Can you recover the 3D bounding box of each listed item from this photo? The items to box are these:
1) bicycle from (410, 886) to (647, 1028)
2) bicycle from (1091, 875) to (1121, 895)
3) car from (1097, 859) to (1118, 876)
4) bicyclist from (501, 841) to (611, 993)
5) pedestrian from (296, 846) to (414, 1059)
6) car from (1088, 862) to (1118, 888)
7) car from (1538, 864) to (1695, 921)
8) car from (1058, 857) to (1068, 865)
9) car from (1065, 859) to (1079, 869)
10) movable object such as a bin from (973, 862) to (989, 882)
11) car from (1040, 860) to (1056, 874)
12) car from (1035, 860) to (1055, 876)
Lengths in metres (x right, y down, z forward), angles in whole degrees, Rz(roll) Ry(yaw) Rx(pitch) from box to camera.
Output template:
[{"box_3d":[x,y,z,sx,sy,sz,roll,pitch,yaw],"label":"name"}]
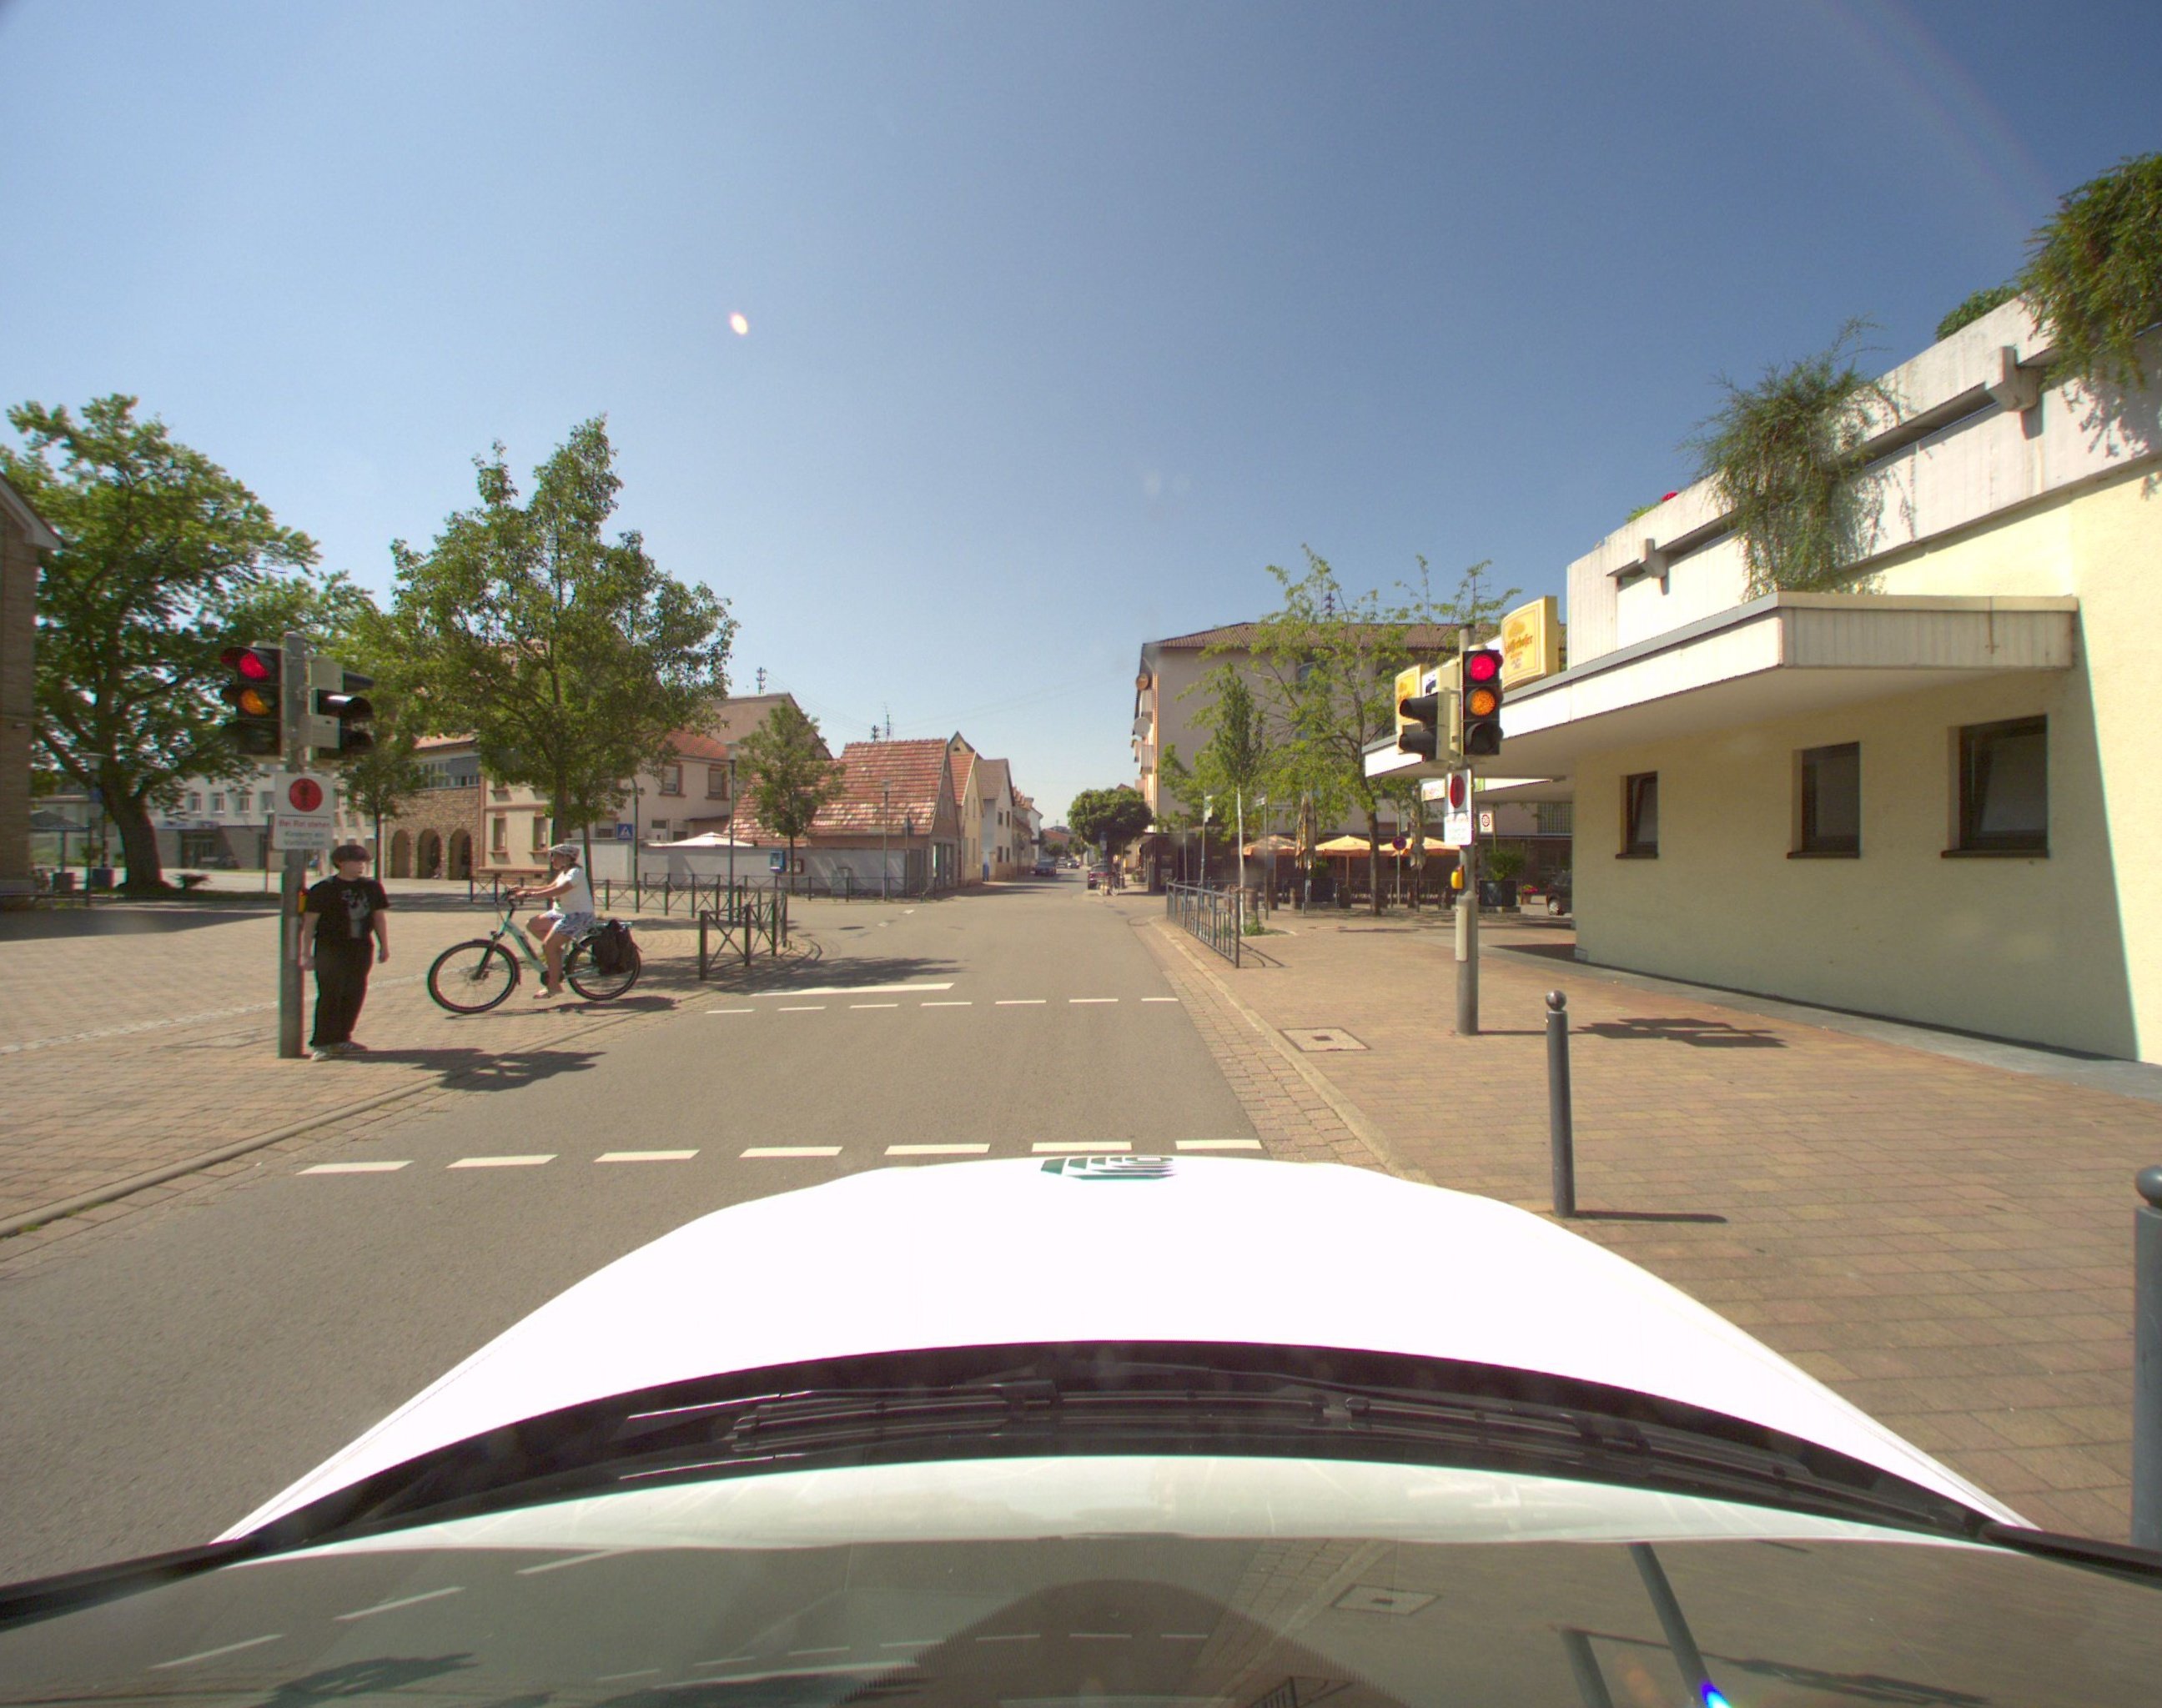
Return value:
[{"box_3d":[-5.691,0.987,8.471,1.982,1.252,0.702,0,-1,-41],"label":"bicycle"},{"box_3d":[1.199,1.477,38.683,1.396,0.897,0.468,-2,0,38],"label":"bicycle"},{"box_3d":[2.669,1.327,81.173,2.035,1.689,4.843,0,-1,2],"label":"car"},{"box_3d":[-5.555,0.629,8.618,0.875,1.506,0.708,0,-1,-42],"label":"bicyclist"},{"box_3d":[-5.866,0.758,6.587,0.543,1.619,0.561,-1,-2,35],"label":"pedestrian"},{"box_3d":[1.305,1.192,47.314,1.569,1.454,3.489,0,-1,4],"label":"car"},{"box_3d":[15.248,1.056,23.467,1.763,1.510,3.965,1,-1,-4],"label":"car"},{"box_3d":[-3.577,1.462,162.075,2.022,1.598,4.505,0,-1,-2],"label":"car"},{"box_3d":[-1.353,1.500,123.588,1.905,1.481,4.837,0,-1,-3],"label":"car"},{"box_3d":[-7.009,1.260,57.104,1.096,1.366,0.390,0,-1,5],"label":"movable object such as a bin"},{"box_3d":[-3.449,1.330,85.012,1.659,1.476,3.448,0,-1,-2],"label":"car"},{"box_3d":[-3.432,1.309,78.453,1.657,1.476,4.135,0,-1,1],"label":"car"}]
